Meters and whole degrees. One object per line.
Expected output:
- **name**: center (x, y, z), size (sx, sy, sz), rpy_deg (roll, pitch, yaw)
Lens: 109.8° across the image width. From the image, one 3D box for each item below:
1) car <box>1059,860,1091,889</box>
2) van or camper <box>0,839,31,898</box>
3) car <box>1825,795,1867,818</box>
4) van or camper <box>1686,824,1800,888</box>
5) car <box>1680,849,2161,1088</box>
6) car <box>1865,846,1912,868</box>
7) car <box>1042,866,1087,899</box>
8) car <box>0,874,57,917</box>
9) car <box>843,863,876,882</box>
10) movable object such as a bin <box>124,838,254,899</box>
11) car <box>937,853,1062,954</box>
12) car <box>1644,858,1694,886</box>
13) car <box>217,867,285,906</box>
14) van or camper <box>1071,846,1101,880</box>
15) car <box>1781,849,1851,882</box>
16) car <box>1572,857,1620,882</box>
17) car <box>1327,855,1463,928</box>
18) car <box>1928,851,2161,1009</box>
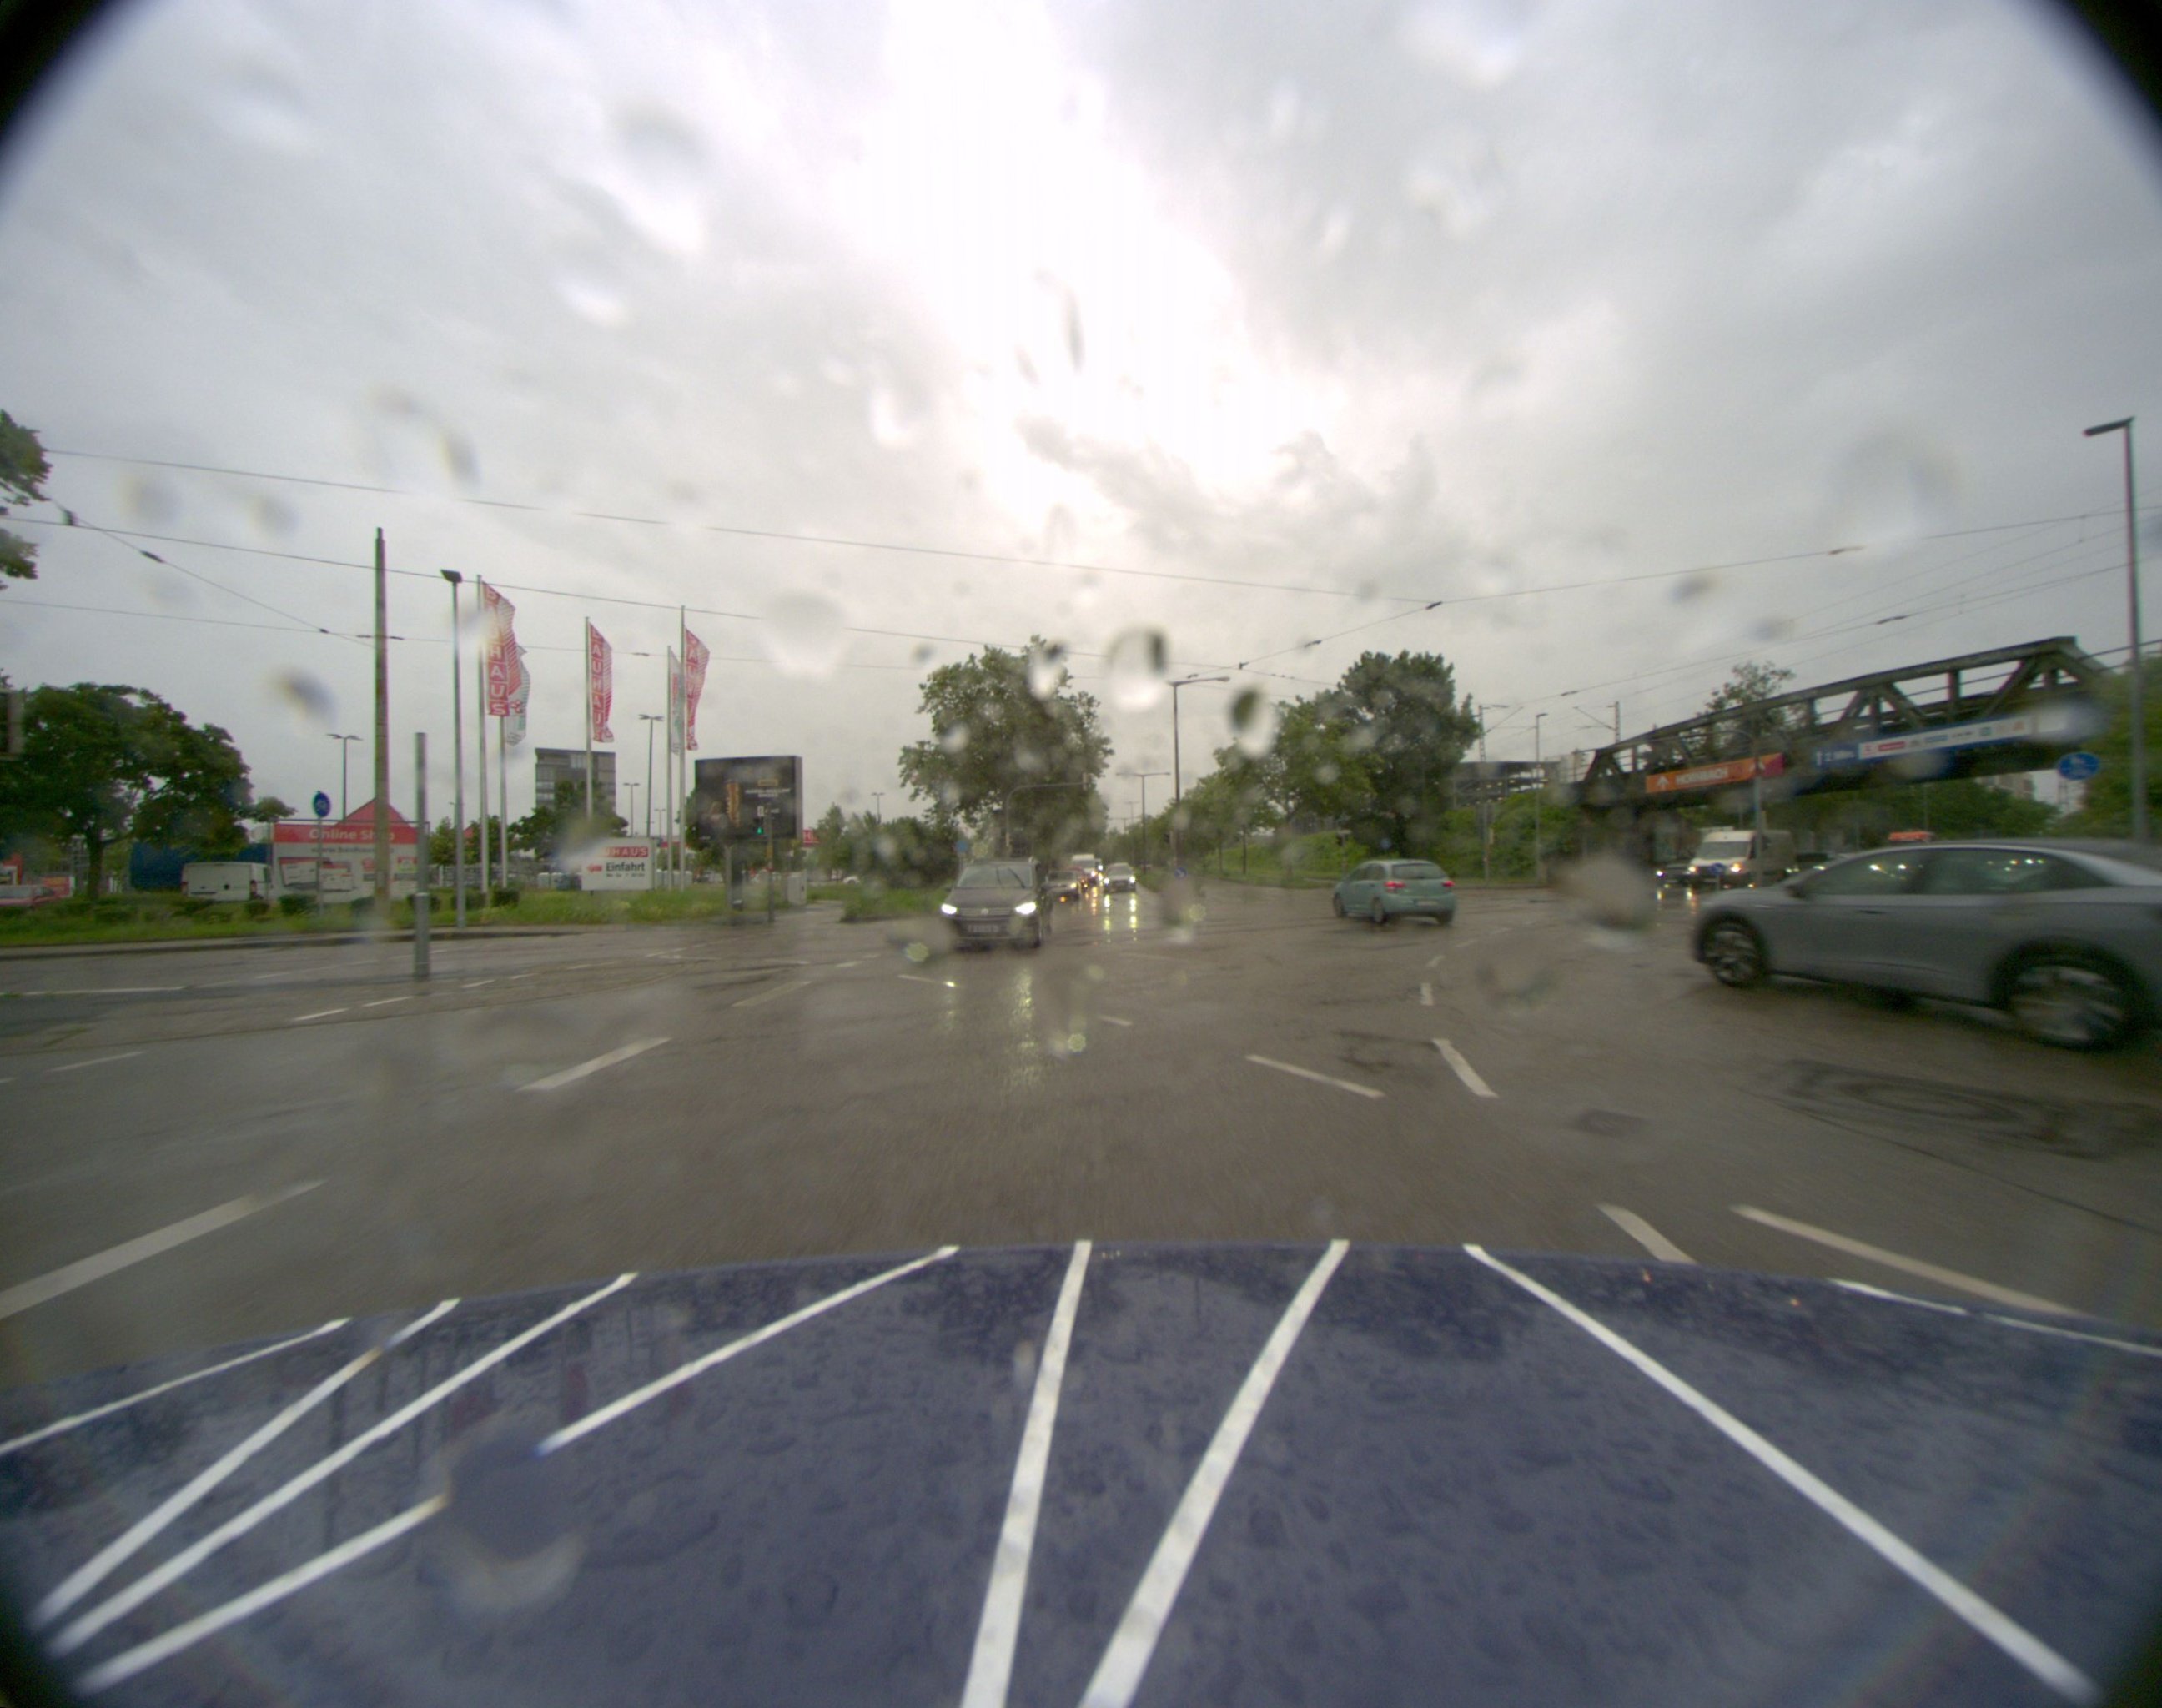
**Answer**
- **car**: center (-0.318, 1.287, 49.061), size (1.699, 1.759, 4.559), rpy_deg (-1, -1, 4)
- **van or camper**: center (-61.199, 0.941, 38.362), size (8.994, 3.139, 2.980), rpy_deg (-3, 1, -33)
- **car**: center (71.469, -4.466, 71.014), size (4.006, 2.002, 1.995), rpy_deg (-3, 1, -33)
- **van or camper**: center (29.968, 0.061, 34.295), size (6.940, 2.646, 1.995), rpy_deg (-1, 0, -33)
- **car**: center (8.116, 0.764, 6.804), size (1.976, 1.592, 4.387), rpy_deg (0, 0, -2)
- **car**: center (59.391, 0.214, 55.859), size (3.812, 1.545, 1.690), rpy_deg (-1, 0, -33)
- **car**: center (-0.726, 1.346, 36.901), size (1.806, 1.422, 4.388), rpy_deg (-2, 0, 3)
- **car**: center (-41.536, 1.571, 29.421), size (3.988, 1.564, 2.004), rpy_deg (-1, 0, 39)
- **car**: center (-20.577, 1.702, 70.597), size (1.822, 1.610, 4.000), rpy_deg (-1, 0, 1)
- **movable object such as a bin**: center (-51.200, 0.793, 43.763), size (4.260, 3.265, 2.321), rpy_deg (-3, 1, -35)
- **car**: center (-1.444, 0.853, 14.995), size (1.861, 1.716, 4.191), rpy_deg (0, 0, 2)
- **car**: center (29.882, 0.892, 38.591), size (1.689, 1.339, 3.476), rpy_deg (-1, 0, 43)
- **car**: center (-36.261, 1.365, 33.221), size (3.727, 1.564, 1.897), rpy_deg (-1, 0, 43)
- **van or camper**: center (0.457, 0.699, 62.127), size (2.099, 2.579, 4.777), rpy_deg (-3, -1, 4)
- **car**: center (36.781, 0.538, 37.995), size (3.812, 1.545, 1.690), rpy_deg (-1, 0, -33)
- **car**: center (29.080, 0.855, 42.870), size (1.689, 1.339, 3.476), rpy_deg (-1, 0, 43)
- **car**: center (7.523, 0.831, 18.581), size (1.697, 1.592, 3.623), rpy_deg (0, 0, -2)
- **car**: center (11.842, 0.759, 8.315), size (1.651, 1.592, 3.570), rpy_deg (-1, 0, 12)
